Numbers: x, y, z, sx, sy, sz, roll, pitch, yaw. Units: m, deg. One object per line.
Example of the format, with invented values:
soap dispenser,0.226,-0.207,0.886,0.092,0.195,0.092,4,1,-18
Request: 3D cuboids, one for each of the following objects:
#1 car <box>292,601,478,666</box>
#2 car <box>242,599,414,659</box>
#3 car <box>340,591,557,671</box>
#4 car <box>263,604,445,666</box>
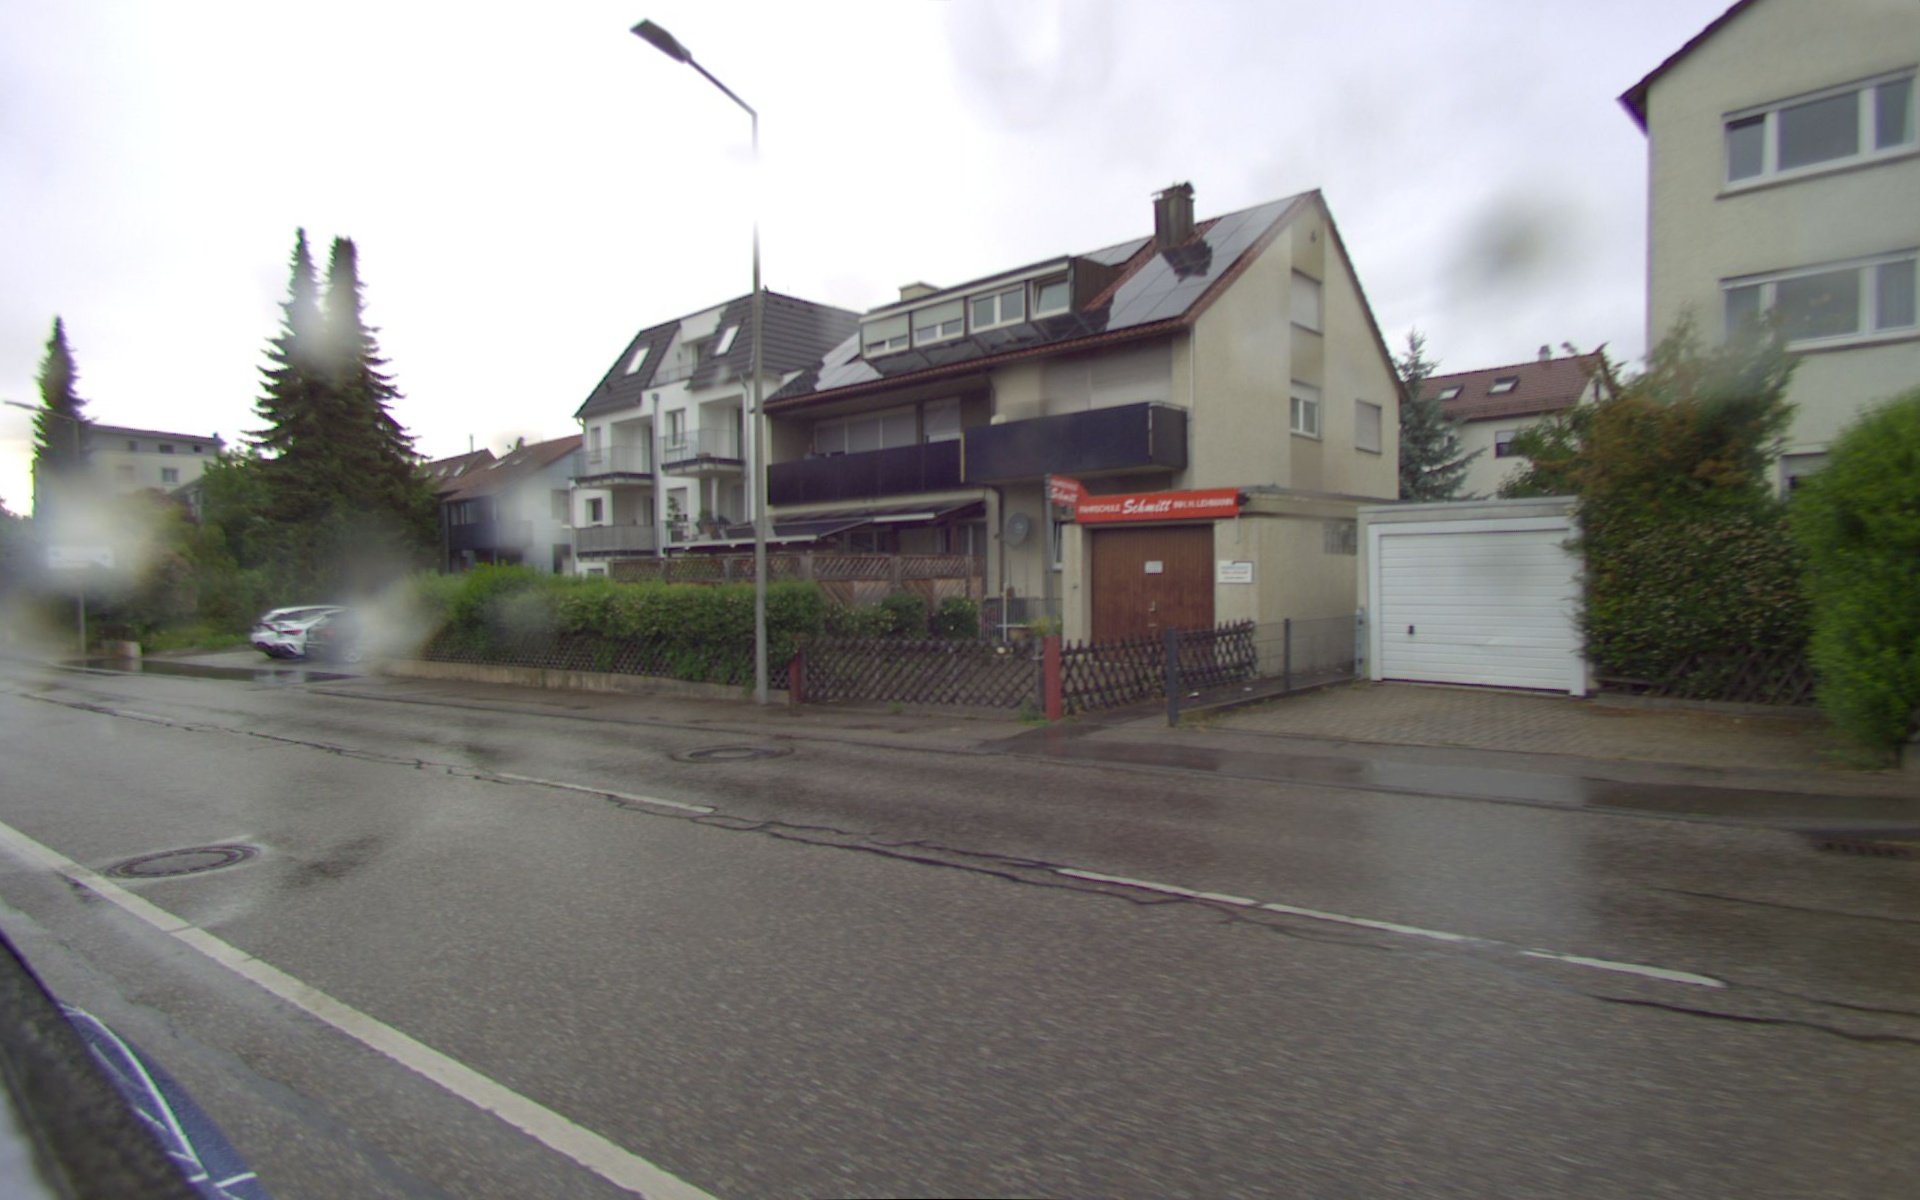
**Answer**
car,-15.502,0.859,27.441,1.812,1.453,3.983,-1,2,42
car,-19.307,0.834,31.035,2.000,1.557,4.063,-1,2,42
car,-12.729,0.707,25.386,2.001,1.673,4.409,-1,2,44
car,-17.361,0.945,29.100,1.890,1.453,4.101,-1,2,44
